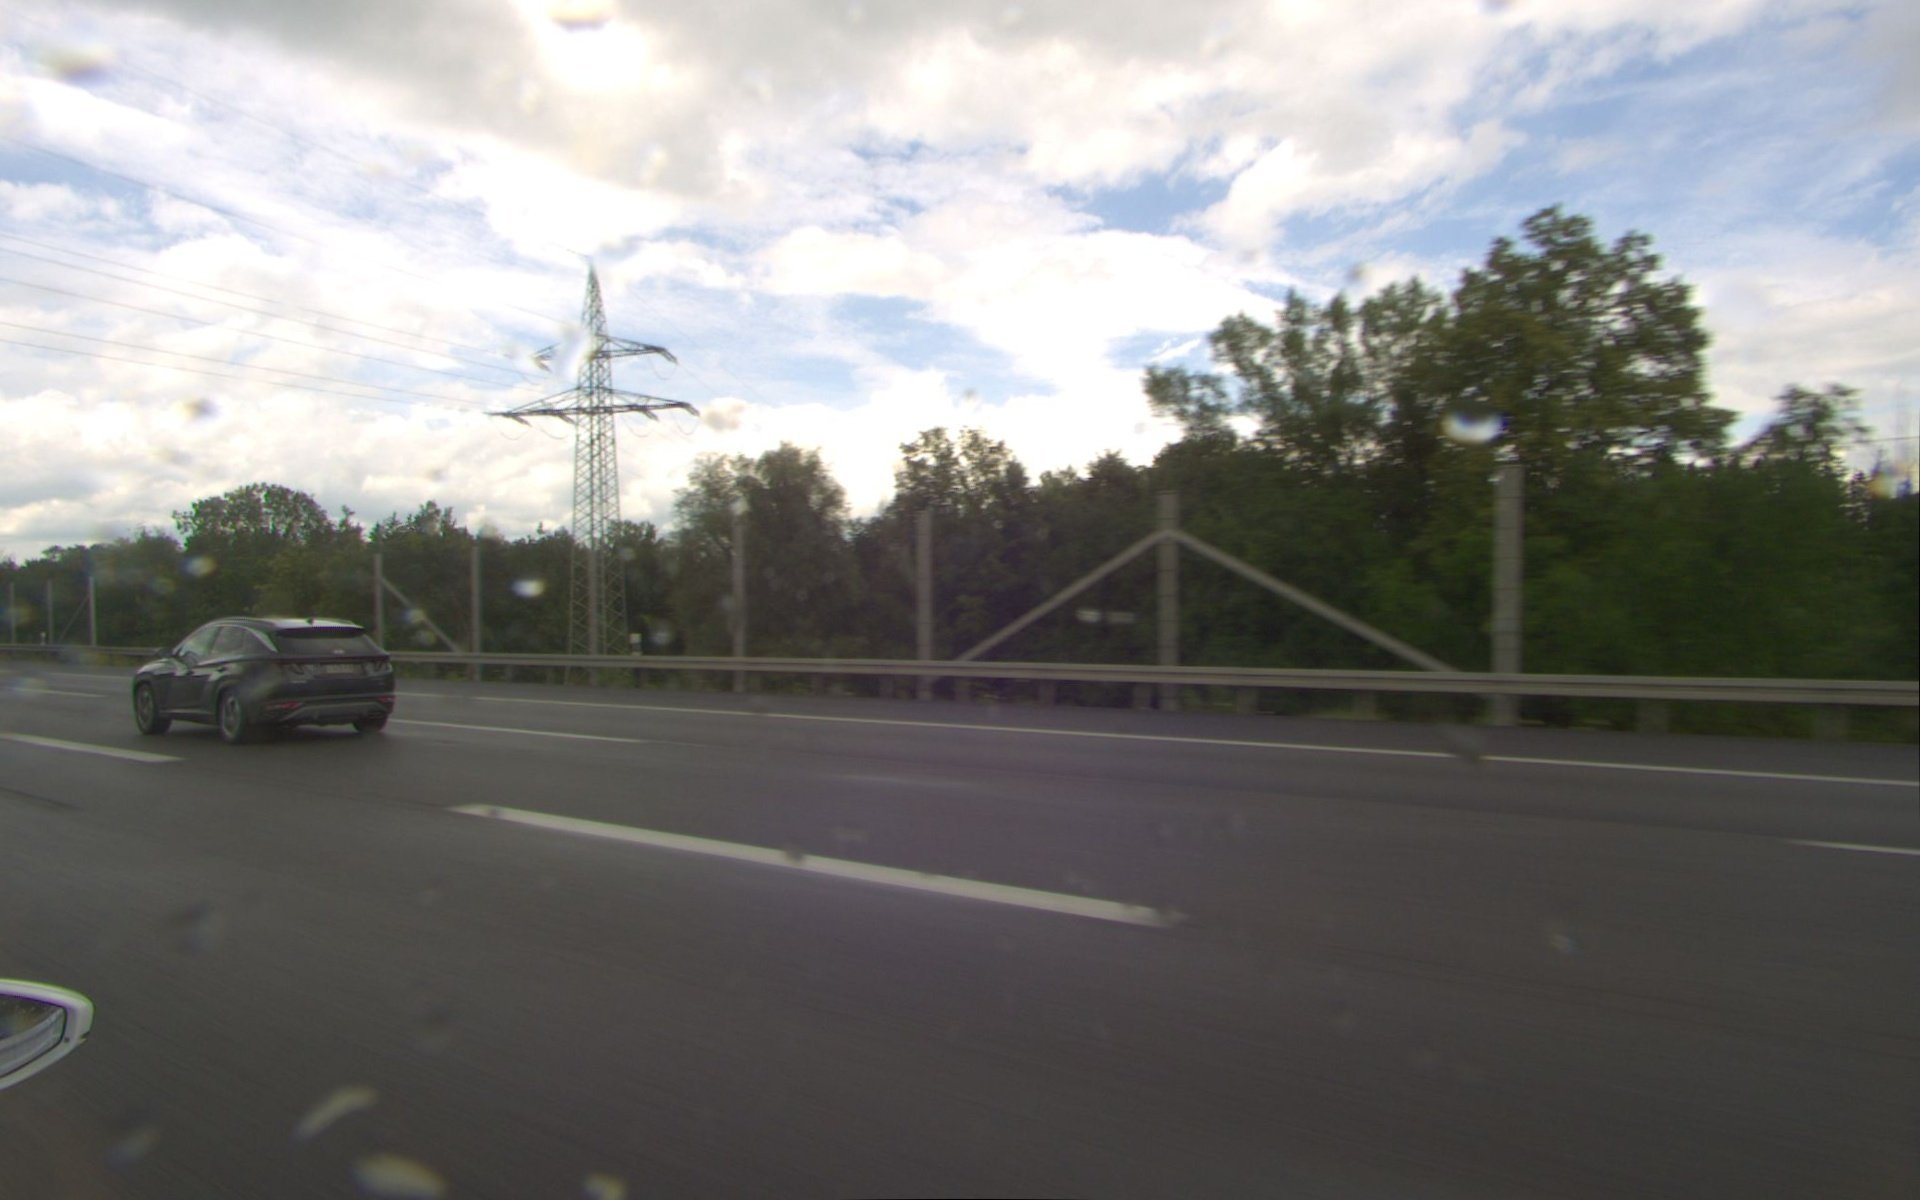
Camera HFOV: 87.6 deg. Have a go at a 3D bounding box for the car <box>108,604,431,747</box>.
[{"bbox_3d":[-9.965,0.972,14.342,4.936,1.720,2.042,0,-3,33],"label":"car"}]
